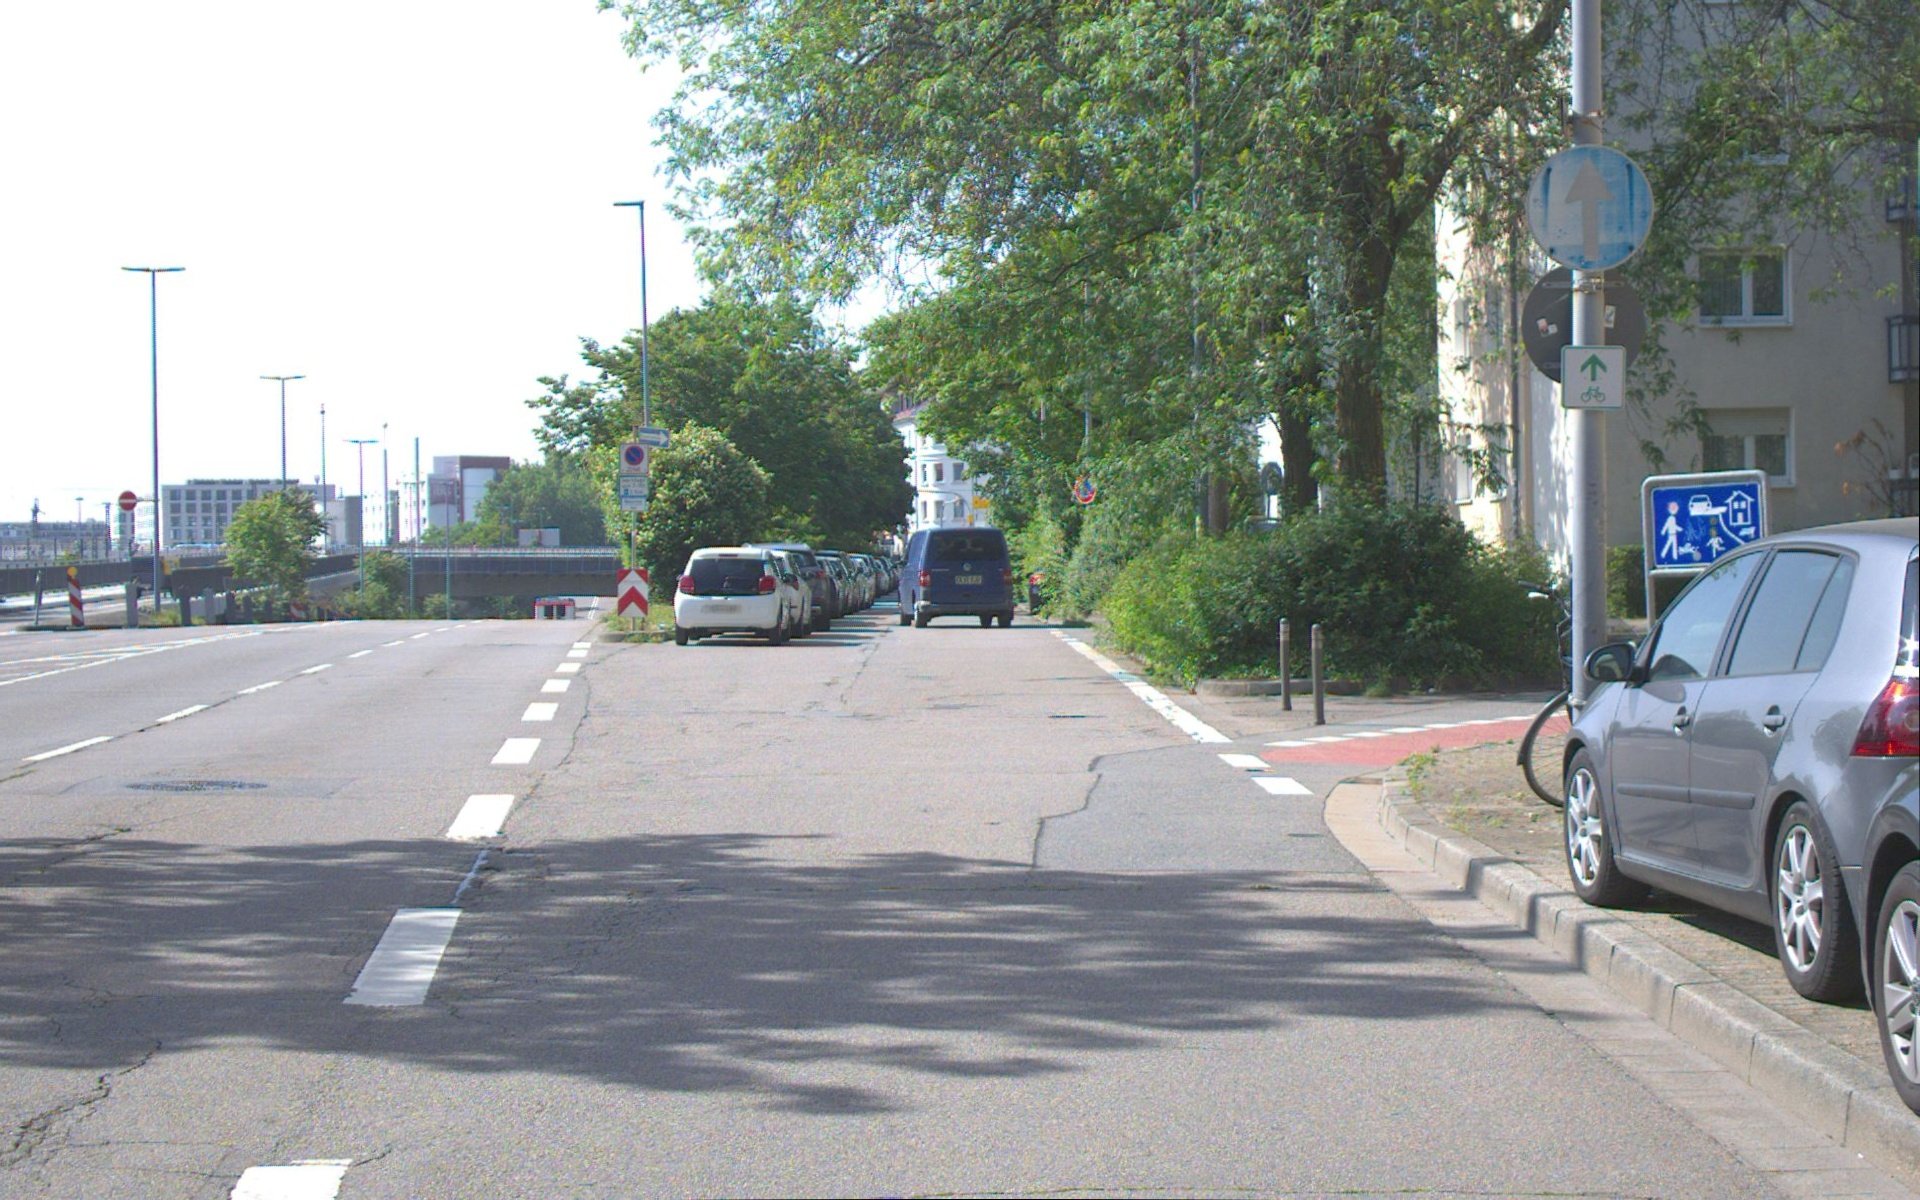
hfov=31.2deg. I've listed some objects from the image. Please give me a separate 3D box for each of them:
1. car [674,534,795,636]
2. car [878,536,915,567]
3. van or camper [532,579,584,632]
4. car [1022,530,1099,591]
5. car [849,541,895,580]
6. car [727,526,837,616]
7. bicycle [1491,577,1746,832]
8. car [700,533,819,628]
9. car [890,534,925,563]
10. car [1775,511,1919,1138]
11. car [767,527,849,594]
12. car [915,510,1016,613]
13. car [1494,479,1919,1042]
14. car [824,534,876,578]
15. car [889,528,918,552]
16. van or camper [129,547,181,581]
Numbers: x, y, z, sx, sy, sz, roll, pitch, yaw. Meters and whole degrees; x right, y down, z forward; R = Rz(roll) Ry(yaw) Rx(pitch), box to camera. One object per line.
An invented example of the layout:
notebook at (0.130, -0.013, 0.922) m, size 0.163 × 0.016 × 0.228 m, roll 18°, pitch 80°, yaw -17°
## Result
car at (-3.467, -0.257, 53.365) m, size 1.619 × 1.500 × 3.462 m, roll 0°, pitch 1°, yaw 0°
car at (-3.513, -2.719, 191.347) m, size 1.993 × 1.651 × 4.000 m, roll -1°, pitch 1°, yaw -1°
van or camper at (-22.383, 0.286, 191.597) m, size 2.296 × 2.779 × 5.571 m, roll -1°, pitch 1°, yaw -1°
car at (2.498, -1.006, 86.291) m, size 1.726 × 1.415 × 4.000 m, roll -2°, pitch 1°, yaw 0°
car at (-3.522, -1.602, 138.151) m, size 1.664 × 1.504 × 4.008 m, roll 1°, pitch 1°, yaw 0°
car at (-3.321, -0.560, 63.679) m, size 1.771 × 1.574 × 4.187 m, roll -2°, pitch 1°, yaw -6°
bicycle at (3.138, 0.471, 16.534) m, size 0.702 × 1.120 × 1.745 m, roll -2°, pitch 1°, yaw -6°
car at (-3.344, -0.363, 57.971) m, size 1.721 × 1.500 × 4.132 m, roll 1°, pitch 1°, yaw 0°
car at (-3.069, -3.037, 201.144) m, size 1.993 × 1.651 × 4.000 m, roll -1°, pitch 1°, yaw -1°
car at (3.138, 0.531, 6.997) m, size 1.710 × 1.457 × 4.256 m, roll -2°, pitch 1°, yaw -3°
car at (-3.481, -0.928, 79.146) m, size 1.664 × 1.468 × 3.789 m, roll 1°, pitch 1°, yaw 0°
car at (0.121, -0.777, 67.112) m, size 1.883 × 1.915 × 4.008 m, roll 1°, pitch 1°, yaw 0°
car at (3.157, 0.374, 11.635) m, size 1.703 × 1.509 × 4.093 m, roll -3°, pitch 2°, yaw -5°
car at (-3.858, -1.574, 121.479) m, size 1.664 × 1.504 × 4.008 m, roll 1°, pitch 1°, yaw 0°
car at (-4.018, -4.263, 243.993) m, size 1.993 × 1.651 × 4.000 m, roll -1°, pitch 1°, yaw -1°
van or camper at (-33.152, -1.487, 141.655) m, size 1.466 × 1.345 × 4.632 m, roll -1°, pitch 1°, yaw -6°
